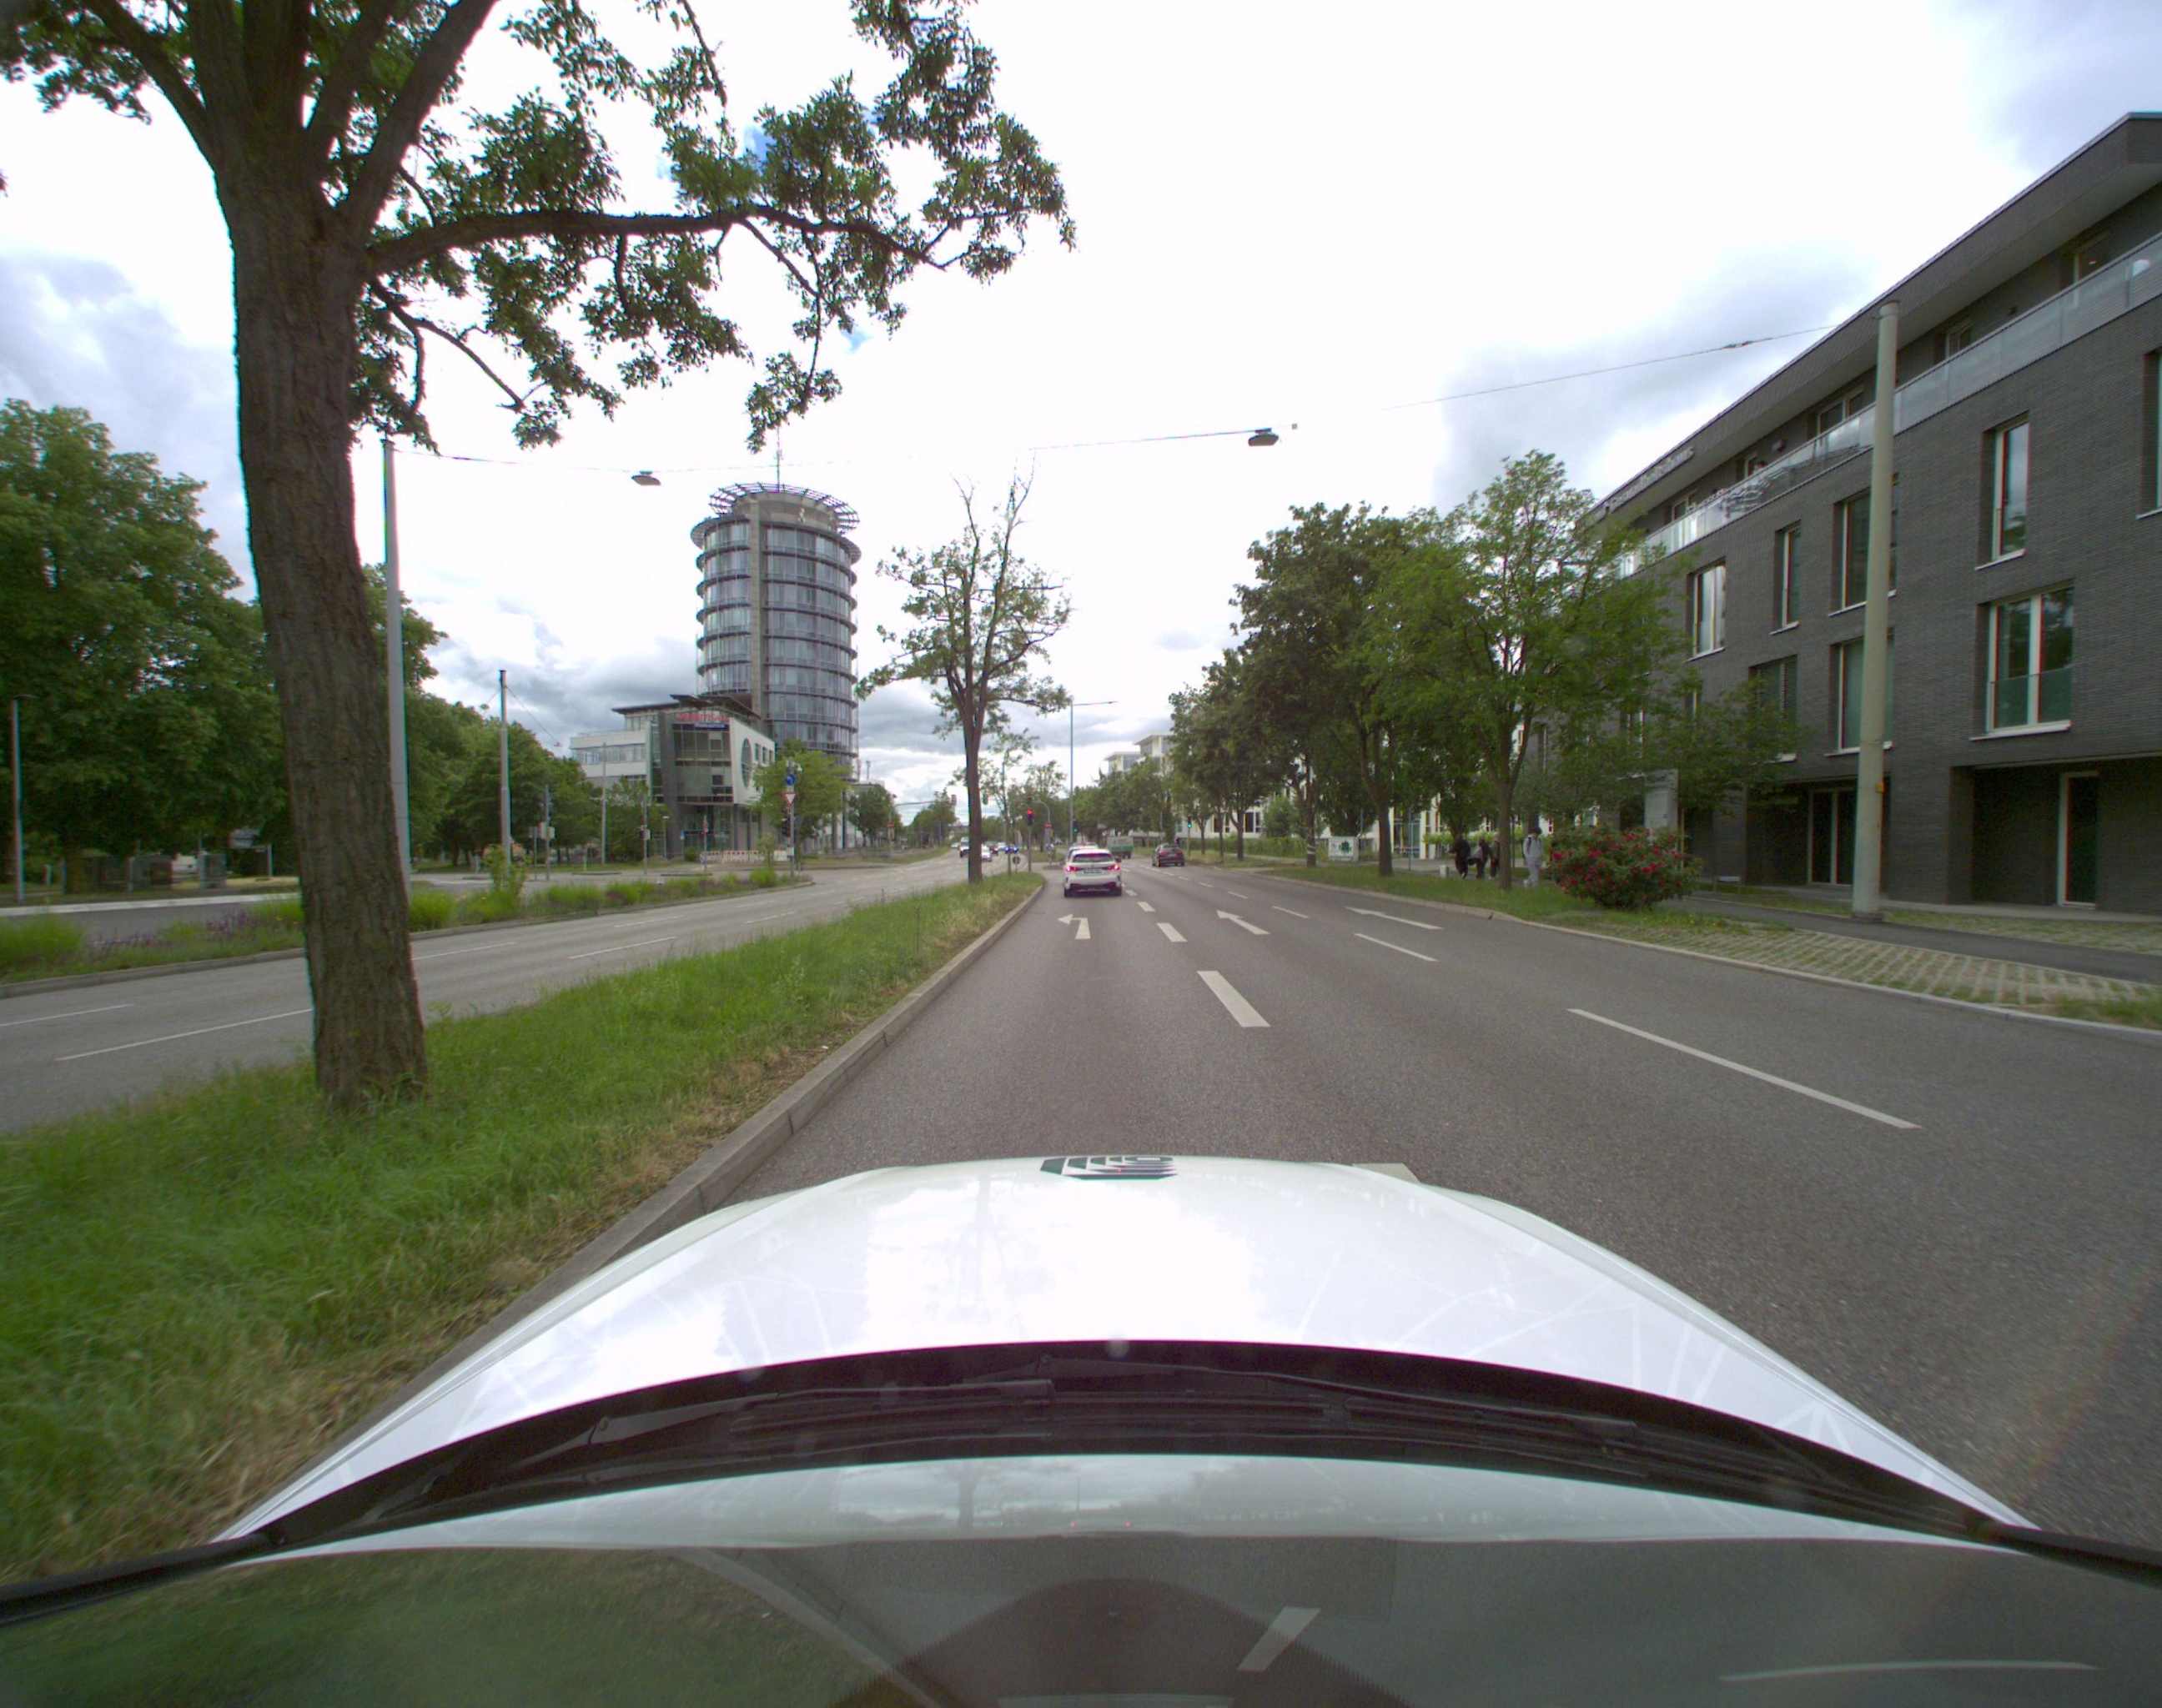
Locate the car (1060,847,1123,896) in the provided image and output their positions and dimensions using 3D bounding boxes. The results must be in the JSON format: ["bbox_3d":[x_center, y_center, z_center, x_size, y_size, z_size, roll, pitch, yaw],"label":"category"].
[{"bbox_3d":[0.414,0.523,26.449,1.855,1.449,4.003,-1,0,3],"label":"car"}]

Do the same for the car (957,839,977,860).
[{"bbox_3d":[-15.024,-0.626,107.344,1.989,2.634,5.870,1,1,-2],"label":"car"}]

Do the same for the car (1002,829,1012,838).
[{"bbox_3d":[-17.424,-4.862,192.070,1.989,2.010,4.320,1,1,-2],"label":"car"}]

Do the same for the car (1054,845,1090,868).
[{"bbox_3d":[-0.547,0.158,55.594,1.983,1.508,4.007,-1,0,6],"label":"car"}]

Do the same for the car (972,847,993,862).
[{"bbox_3d":[-9.735,-0.002,80.925,1.749,1.444,4.131,1,1,-2],"label":"car"}]

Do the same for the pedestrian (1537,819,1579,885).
[{"bbox_3d":[13.178,-0.078,22.517,0.606,1.775,0.954,-1,2,1],"label":"pedestrian"}]

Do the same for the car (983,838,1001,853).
[{"bbox_3d":[-12.365,-1.187,113.137,1.930,1.918,4.971,-1,0,-1],"label":"car"}]

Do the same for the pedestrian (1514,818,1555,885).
[{"bbox_3d":[12.494,-0.088,22.474,0.606,1.775,0.954,-1,2,1],"label":"pedestrian"}]

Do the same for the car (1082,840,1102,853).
[{"bbox_3d":[1.360,-0.910,101.444,1.992,1.508,3.991,-1,1,-7],"label":"car"}]

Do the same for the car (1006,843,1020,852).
[{"bbox_3d":[-10.316,-1.003,123.118,1.748,1.371,3.780,-2,1,0],"label":"car"}]

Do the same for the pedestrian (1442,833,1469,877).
[{"bbox_3d":[13.303,0.041,28.929,0.722,1.552,0.588,-1,0,5],"label":"pedestrian"}]

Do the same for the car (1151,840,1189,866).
[{"bbox_3d":[5.773,-0.086,53.246,1.987,1.596,3.999,-1,1,-1],"label":"car"}]

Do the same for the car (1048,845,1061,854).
[{"bbox_3d":[-4.056,-0.713,125.651,1.988,1.490,3.997,0,1,-2],"label":"car"}]

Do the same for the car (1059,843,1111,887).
[{"bbox_3d":[0.202,0.421,33.690,1.986,1.672,4.001,-1,0,1],"label":"car"}]

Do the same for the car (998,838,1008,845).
[{"bbox_3d":[-20.051,-3.270,209.770,1.987,1.618,4.000,1,1,0],"label":"car"}]

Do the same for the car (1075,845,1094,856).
[{"bbox_3d":[0.448,-0.490,115.476,1.995,1.508,3.984,-1,1,-12],"label":"car"}]

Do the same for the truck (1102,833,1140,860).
[{"bbox_3d":[3.895,-0.718,80.799,2.856,2.519,6.274,-1,0,-6],"label":"truck"}]

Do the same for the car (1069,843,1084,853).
[{"bbox_3d":[-0.685,-0.892,118.327,1.988,1.490,3.997,0,1,-2],"label":"car"}]

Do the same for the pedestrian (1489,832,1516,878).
[{"bbox_3d":[14.401,0.021,27.841,0.586,1.552,0.745,-1,0,5],"label":"pedestrian"}]

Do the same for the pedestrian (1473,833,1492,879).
[{"bbox_3d":[13.697,0.061,27.795,0.407,1.552,0.562,0,0,5],"label":"pedestrian"}]
